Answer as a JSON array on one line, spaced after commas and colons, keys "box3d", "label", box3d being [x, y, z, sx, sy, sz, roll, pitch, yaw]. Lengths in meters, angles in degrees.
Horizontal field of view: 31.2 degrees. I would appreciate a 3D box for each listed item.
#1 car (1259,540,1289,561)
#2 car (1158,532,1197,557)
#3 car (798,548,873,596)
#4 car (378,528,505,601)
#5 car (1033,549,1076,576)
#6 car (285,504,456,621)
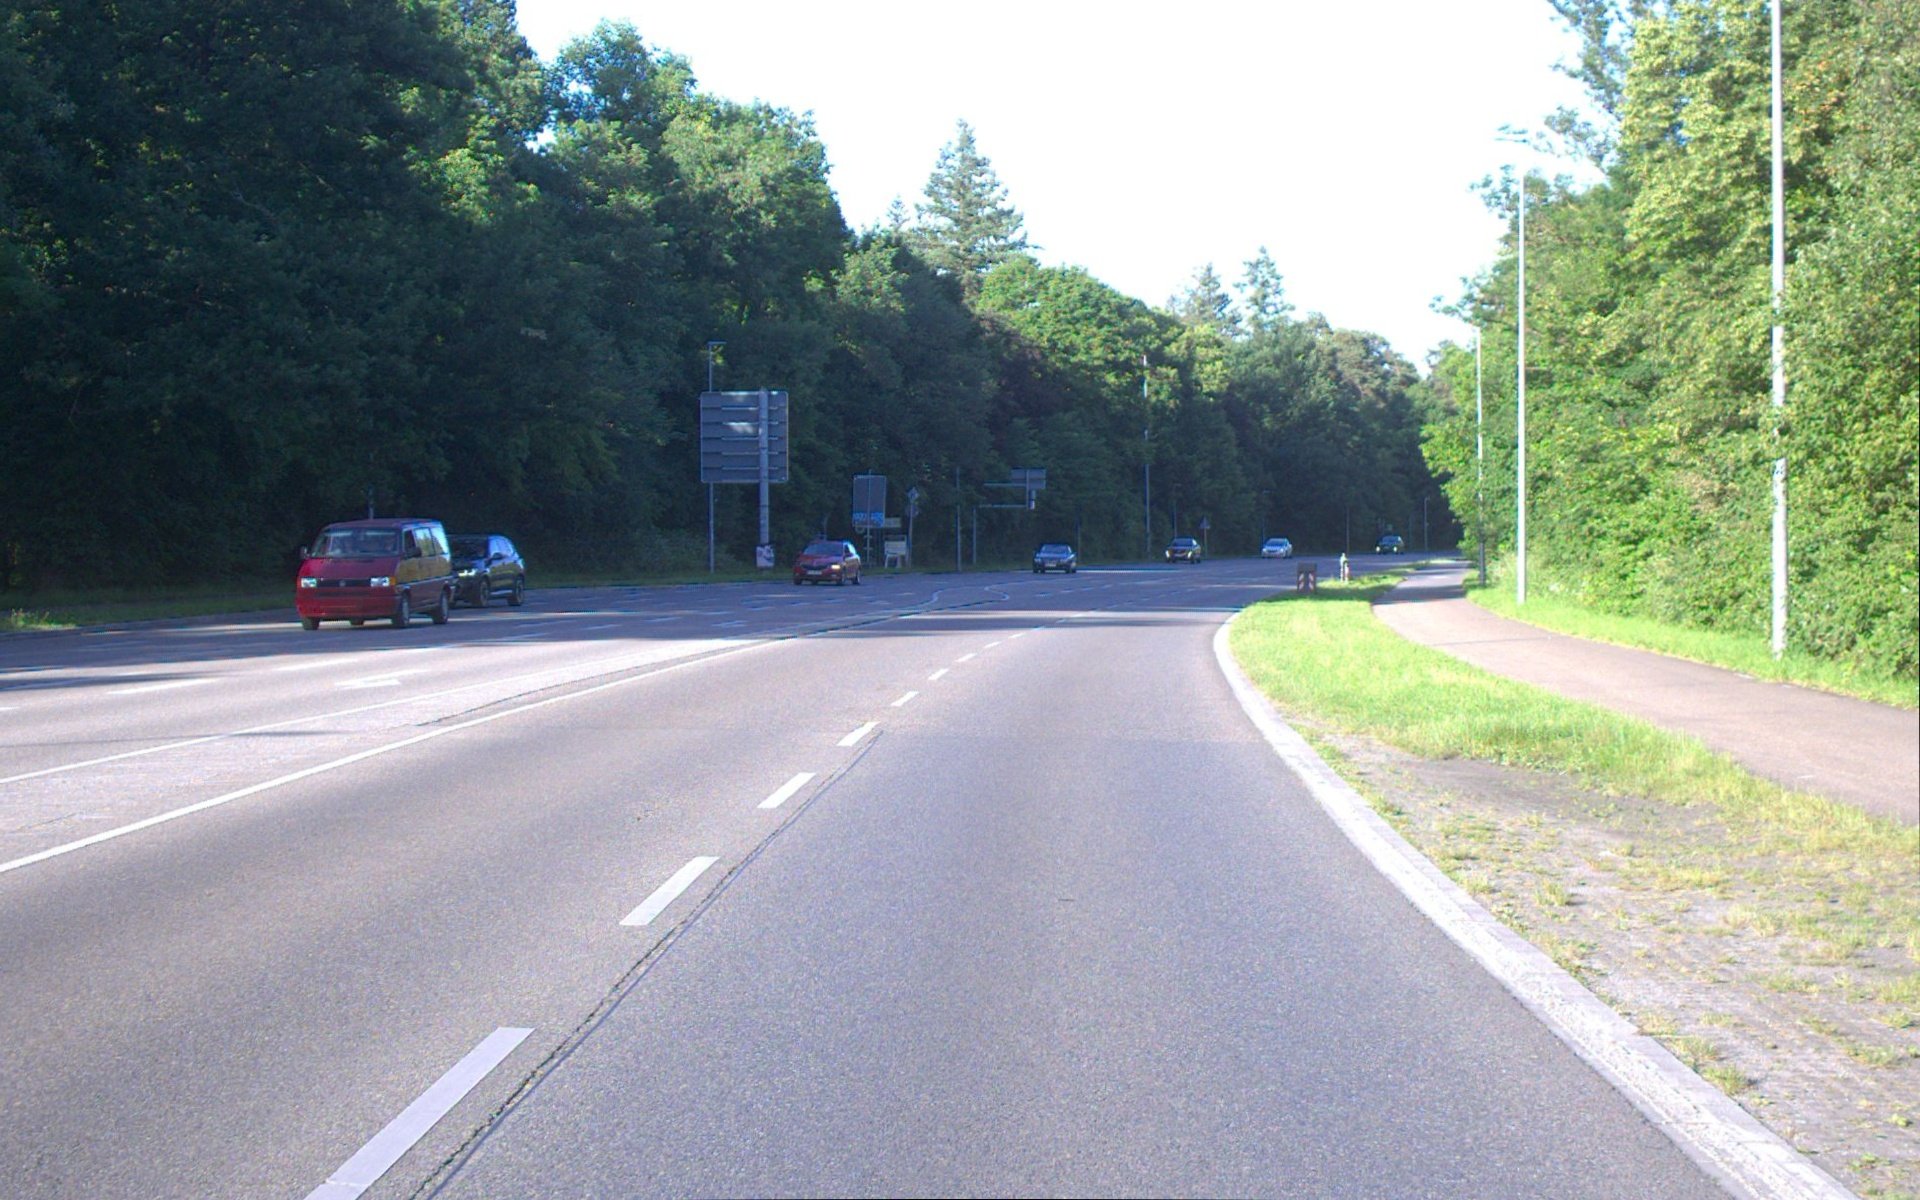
[{"box3d": [22.967, -3.656, 251.548, 1.825, 1.499, 4.305, 1, 1, 10], "label": "car"}, {"box3d": [13.403, -3.412, 211.775, 1.826, 1.539, 4.254, 1, 1, 12], "label": "car"}, {"box3d": [-4.153, -0.942, 115.176, 1.994, 1.558, 4.338, 0, 1, 5], "label": "car"}, {"box3d": [-11.917, -0.844, 79.321, 1.994, 1.631, 4.843, 0, 1, 3], "label": "car"}, {"box3d": [4.391, -1.753, 159.922, 1.744, 1.230, 4.673, 0, 1, 5], "label": "car"}, {"box3d": [-10.407, -0.671, 61.048, 1.994, 1.955, 4.648, -1, 1, 3], "label": "car"}]
